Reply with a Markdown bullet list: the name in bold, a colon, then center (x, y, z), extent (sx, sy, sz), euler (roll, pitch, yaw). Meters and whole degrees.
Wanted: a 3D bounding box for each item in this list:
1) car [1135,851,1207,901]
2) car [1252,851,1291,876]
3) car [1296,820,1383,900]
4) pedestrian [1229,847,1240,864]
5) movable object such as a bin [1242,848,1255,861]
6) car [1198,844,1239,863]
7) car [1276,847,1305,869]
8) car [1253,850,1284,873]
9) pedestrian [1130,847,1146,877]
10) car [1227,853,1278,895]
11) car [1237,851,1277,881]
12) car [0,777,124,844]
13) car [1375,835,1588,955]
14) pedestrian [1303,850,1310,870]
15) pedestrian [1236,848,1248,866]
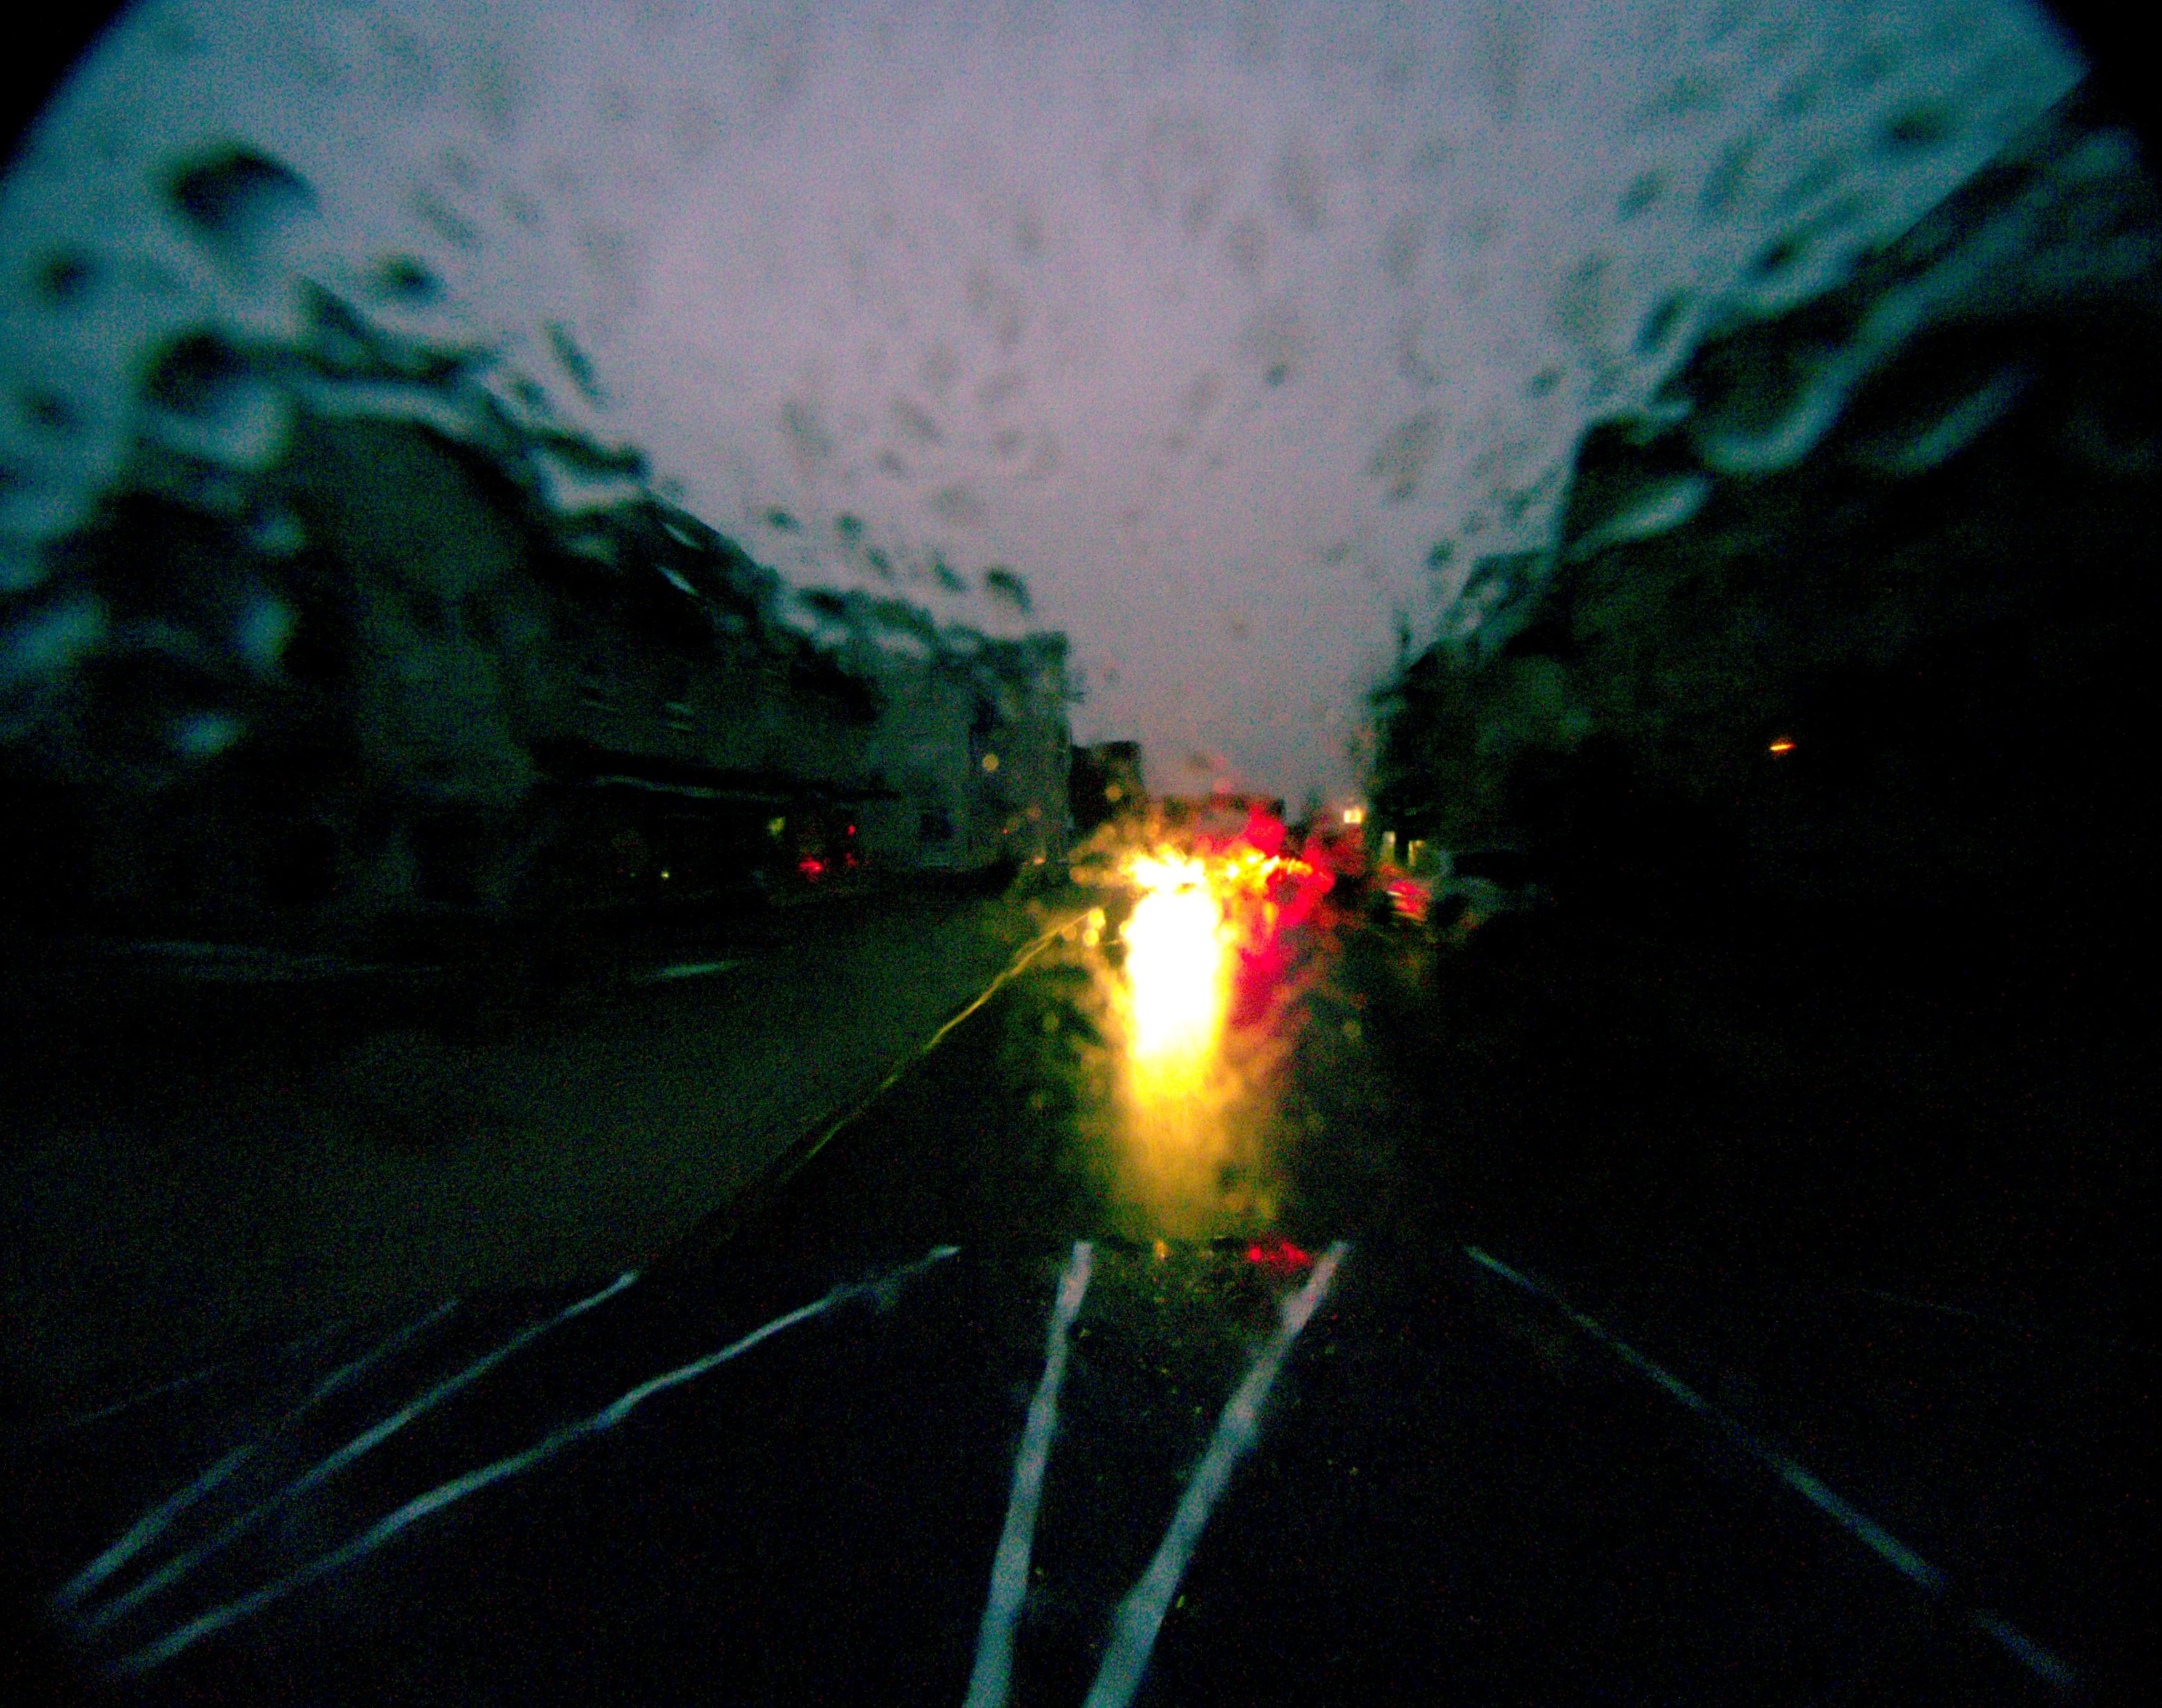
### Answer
- **car**: center (3.557, 0.795, 29.402), extent (1.996, 1.720, 4.005), euler (-1, 0, 17)
- **car**: center (12.364, 0.610, 49.134), extent (1.859, 1.546, 4.265), euler (1, 0, 21)
- **car**: center (9.417, 0.151, 28.241), extent (2.489, 2.545, 6.767), euler (-2, 1, 15)
- **pedestrian**: center (15.408, 0.177, 76.224), extent (0.836, 1.695, 0.847), euler (2, 2, 33)
- **movable object such as a bin**: center (21.048, 0.053, 95.569), extent (1.394, 1.635, 1.263), euler (2, 1, 19)
- **car**: center (15.604, -0.053, 86.332), extent (4.092, 2.038, 2.004), euler (2, 2, 30)
- **car**: center (18.043, 0.363, 65.197), extent (1.996, 1.695, 4.975), euler (-3, -2, 20)
- **car**: center (13.936, 0.596, 56.272), extent (1.954, 1.537, 4.423), euler (1, -2, 17)
- **pedestrian**: center (3.289, 0.472, 43.960), extent (0.746, 1.719, 0.874), euler (0, 0, 18)
- **car**: center (7.218, 0.774, 32.116), extent (1.920, 1.556, 4.230), euler (1, 1, 12)
- **car**: center (9.879, 0.640, 42.448), extent (1.996, 1.546, 4.263), euler (1, 0, 15)
- **car**: center (-35.048, -1.391, 25.428), extent (3.994, 2.002, 2.001), euler (-1, 1, 9)
- **car**: center (7.223, 0.621, 14.451), extent (1.997, 1.833, 5.307), euler (-2, 0, 10)
- **pedestrian**: center (18.359, 0.488, 61.746), extent (0.529, 1.576, 0.577), euler (0, 0, 19)
- **pedestrian**: center (16.902, 0.331, 79.809), extent (0.942, 1.865, 1.012), euler (-1, 1, -5)
